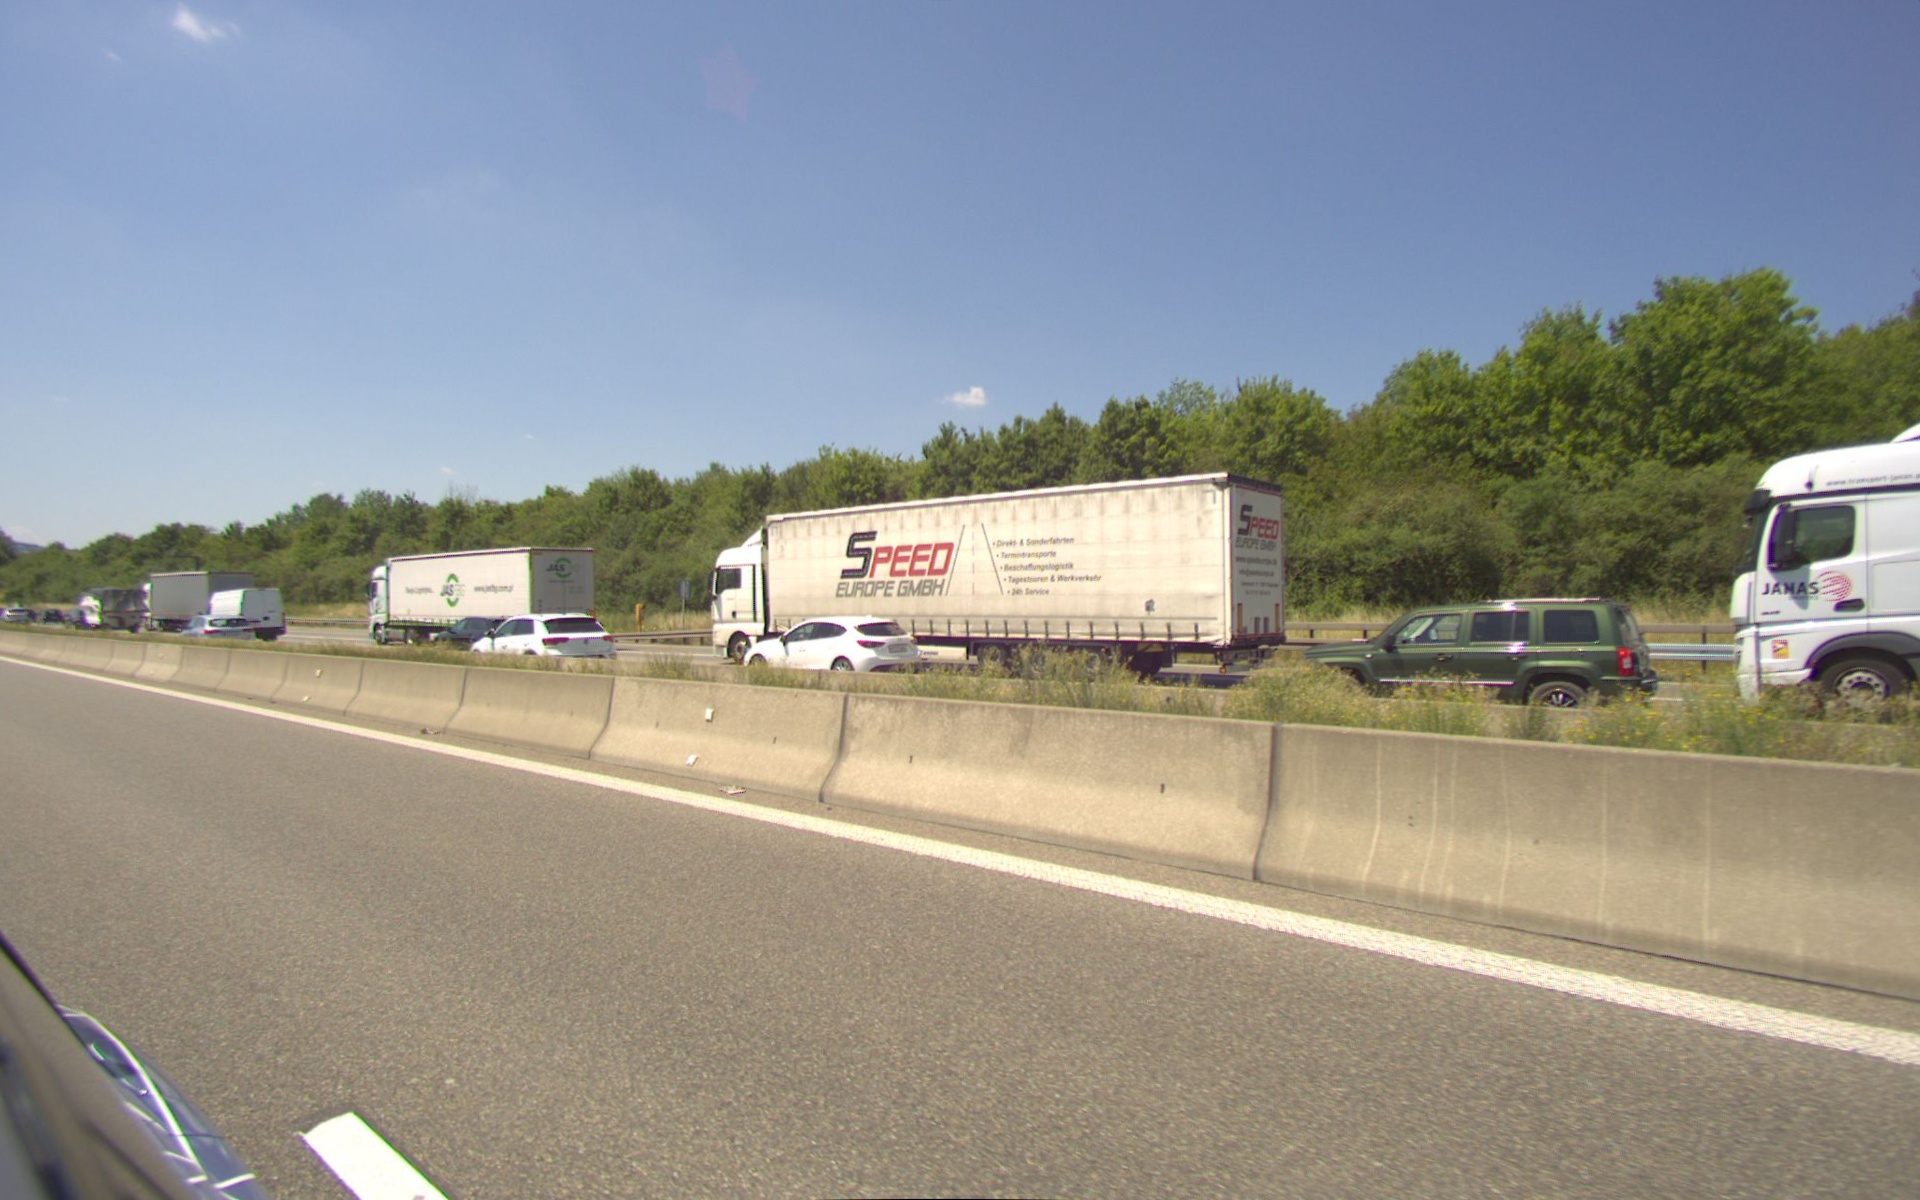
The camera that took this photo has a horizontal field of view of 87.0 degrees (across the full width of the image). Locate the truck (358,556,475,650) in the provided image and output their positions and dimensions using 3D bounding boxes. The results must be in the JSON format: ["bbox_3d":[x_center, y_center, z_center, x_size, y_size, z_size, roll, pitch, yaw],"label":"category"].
[{"bbox_3d":[-25.005,0.152,46.478,5.971,4.037,2.819,-1,-1,41],"label":"truck"}]

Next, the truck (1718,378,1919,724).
[{"bbox_3d":[13.727,-0.625,12.590,6.604,4.241,2.930,-1,0,43],"label":"truck"}]

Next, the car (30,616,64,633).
[{"bbox_3d":[-87.097,2.319,96.539,4.307,1.532,1.972,0,-1,42],"label":"car"}]

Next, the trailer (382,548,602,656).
[{"bbox_3d":[-19.809,0.133,42.041,13.869,3.902,2.873,-1,-1,41],"label":"trailer"}]

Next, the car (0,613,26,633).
[{"bbox_3d":[-81.300,1.954,86.557,4.442,1.690,1.821,0,-1,43],"label":"car"}]

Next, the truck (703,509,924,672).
[{"bbox_3d":[-4.203,-0.205,28.309,6.094,4.073,2.727,-1,0,40],"label":"truck"}]

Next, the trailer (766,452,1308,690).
[{"bbox_3d":[0.874,-0.431,23.956,13.861,4.310,2.782,-1,0,41],"label":"trailer"}]

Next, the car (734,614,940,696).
[{"bbox_3d":[-2.662,1.072,21.329,4.404,1.485,1.862,0,0,41],"label":"car"}]

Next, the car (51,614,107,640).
[{"bbox_3d":[-62.783,1.911,72.074,4.924,1.736,2.087,0,-1,38],"label":"car"}]

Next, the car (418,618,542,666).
[{"bbox_3d":[-16.021,1.334,33.672,4.921,1.445,1.857,-1,0,40],"label":"car"}]

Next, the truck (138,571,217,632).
[{"bbox_3d":[-56.369,0.130,72.880,6.177,4.164,3.167,-1,-1,39],"label":"truck"}]

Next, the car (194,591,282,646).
[{"bbox_3d":[-36.420,0.902,50.926,7.567,2.593,1.878,-1,-1,41],"label":"car"}]

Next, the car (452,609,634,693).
[{"bbox_3d":[-9.350,1.039,22.555,4.403,1.656,1.973,0,0,40],"label":"car"}]

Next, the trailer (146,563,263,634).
[{"bbox_3d":[-51.711,-0.006,69.004,13.766,4.454,3.190,-1,-1,40],"label":"trailer"}]

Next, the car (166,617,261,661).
[{"bbox_3d":[-29.049,1.453,39.350,4.592,1.590,1.973,-1,-1,40],"label":"car"}]

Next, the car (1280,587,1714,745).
[{"bbox_3d":[6.951,0.751,13.437,4.789,1.728,1.973,-1,-1,41],"label":"car"}]

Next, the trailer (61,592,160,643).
[{"bbox_3d":[-56.660,1.062,67.383,10.714,3.207,2.842,0,0,38],"label":"trailer"}]
